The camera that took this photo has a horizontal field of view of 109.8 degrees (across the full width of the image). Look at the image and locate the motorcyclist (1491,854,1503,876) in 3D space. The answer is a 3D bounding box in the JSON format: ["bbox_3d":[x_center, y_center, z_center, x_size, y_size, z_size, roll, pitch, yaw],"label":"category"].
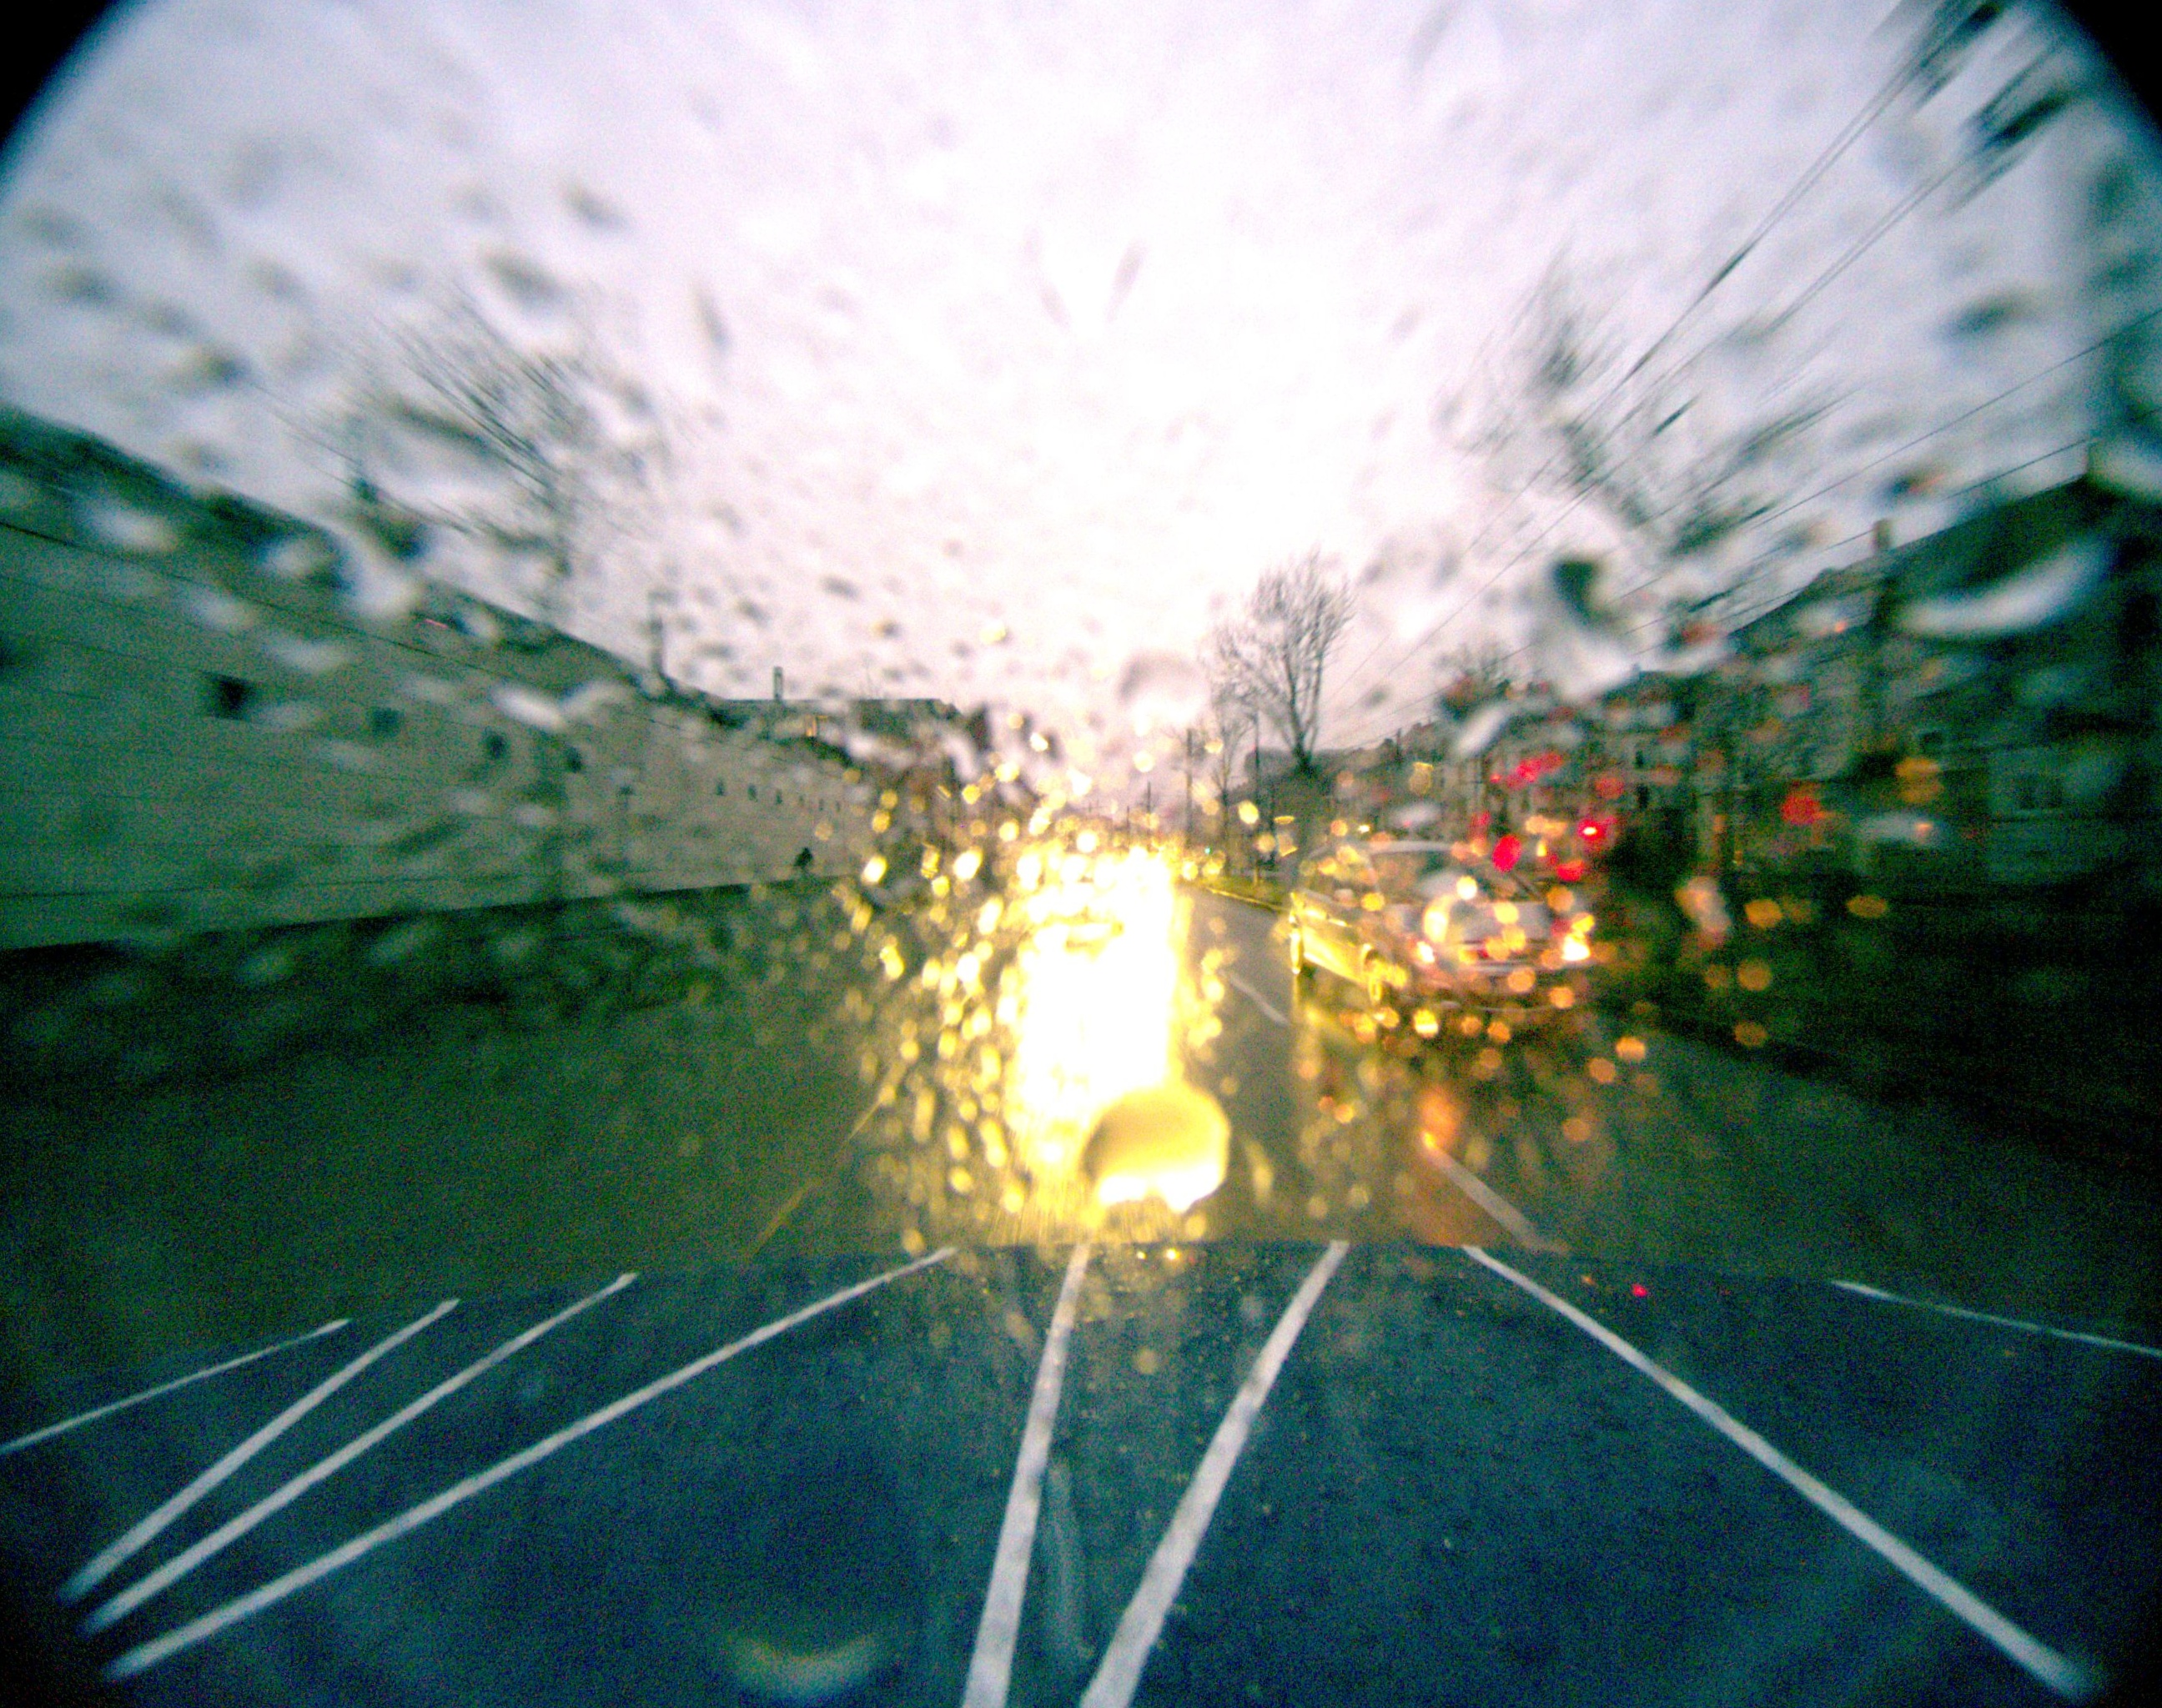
[{"bbox_3d":[20.769,0.558,37.953,0.415,1.055,0.345,-2,1,7],"label":"motorcyclist"}]

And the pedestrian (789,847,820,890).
[{"bbox_3d":[-10.616,0.537,29.175,0.814,1.621,0.883,1,1,0],"label":"pedestrian"}]

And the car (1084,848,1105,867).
[{"bbox_3d":[1.234,0.317,70.100,1.802,1.674,3.805,-2,1,0],"label":"car"}]

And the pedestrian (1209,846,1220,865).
[{"bbox_3d":[8.212,0.070,46.871,0.563,1.150,0.582,-2,1,3],"label":"pedestrian"}]

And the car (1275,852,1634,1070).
[{"bbox_3d":[3.248,0.786,7.546,1.638,1.511,3.907,-2,1,0],"label":"car"}]

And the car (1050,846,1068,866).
[{"bbox_3d":[-2.234,0.159,78.246,1.671,2.002,3.774,-2,1,1],"label":"car"}]

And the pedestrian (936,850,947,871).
[{"bbox_3d":[-10.759,0.501,58.762,0.674,1.639,0.769,1,1,0],"label":"pedestrian"}]

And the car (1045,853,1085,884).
[{"bbox_3d":[-0.723,0.655,36.546,1.737,1.311,3.803,-2,1,0],"label":"car"}]

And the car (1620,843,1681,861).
[{"bbox_3d":[40.096,-0.140,53.543,3.327,1.131,1.253,-2,1,0],"label":"car"}]

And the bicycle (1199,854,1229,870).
[{"bbox_3d":[8.205,0.503,46.897,1.725,0.893,0.733,1,2,1],"label":"bicycle"}]

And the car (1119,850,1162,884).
[{"bbox_3d":[2.865,0.617,37.203,1.905,1.475,3.656,-2,1,3],"label":"car"}]

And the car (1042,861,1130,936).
[{"bbox_3d":[0.114,0.880,16.596,1.669,1.325,3.786,-2,1,0],"label":"car"}]

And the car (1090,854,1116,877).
[{"bbox_3d":[1.387,0.717,48.866,1.538,1.347,3.546,-2,1,0],"label":"car"}]

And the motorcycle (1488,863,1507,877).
[{"bbox_3d":[20.762,0.787,37.891,0.422,0.679,1.176,-2,1,7],"label":"motorcycle"}]
